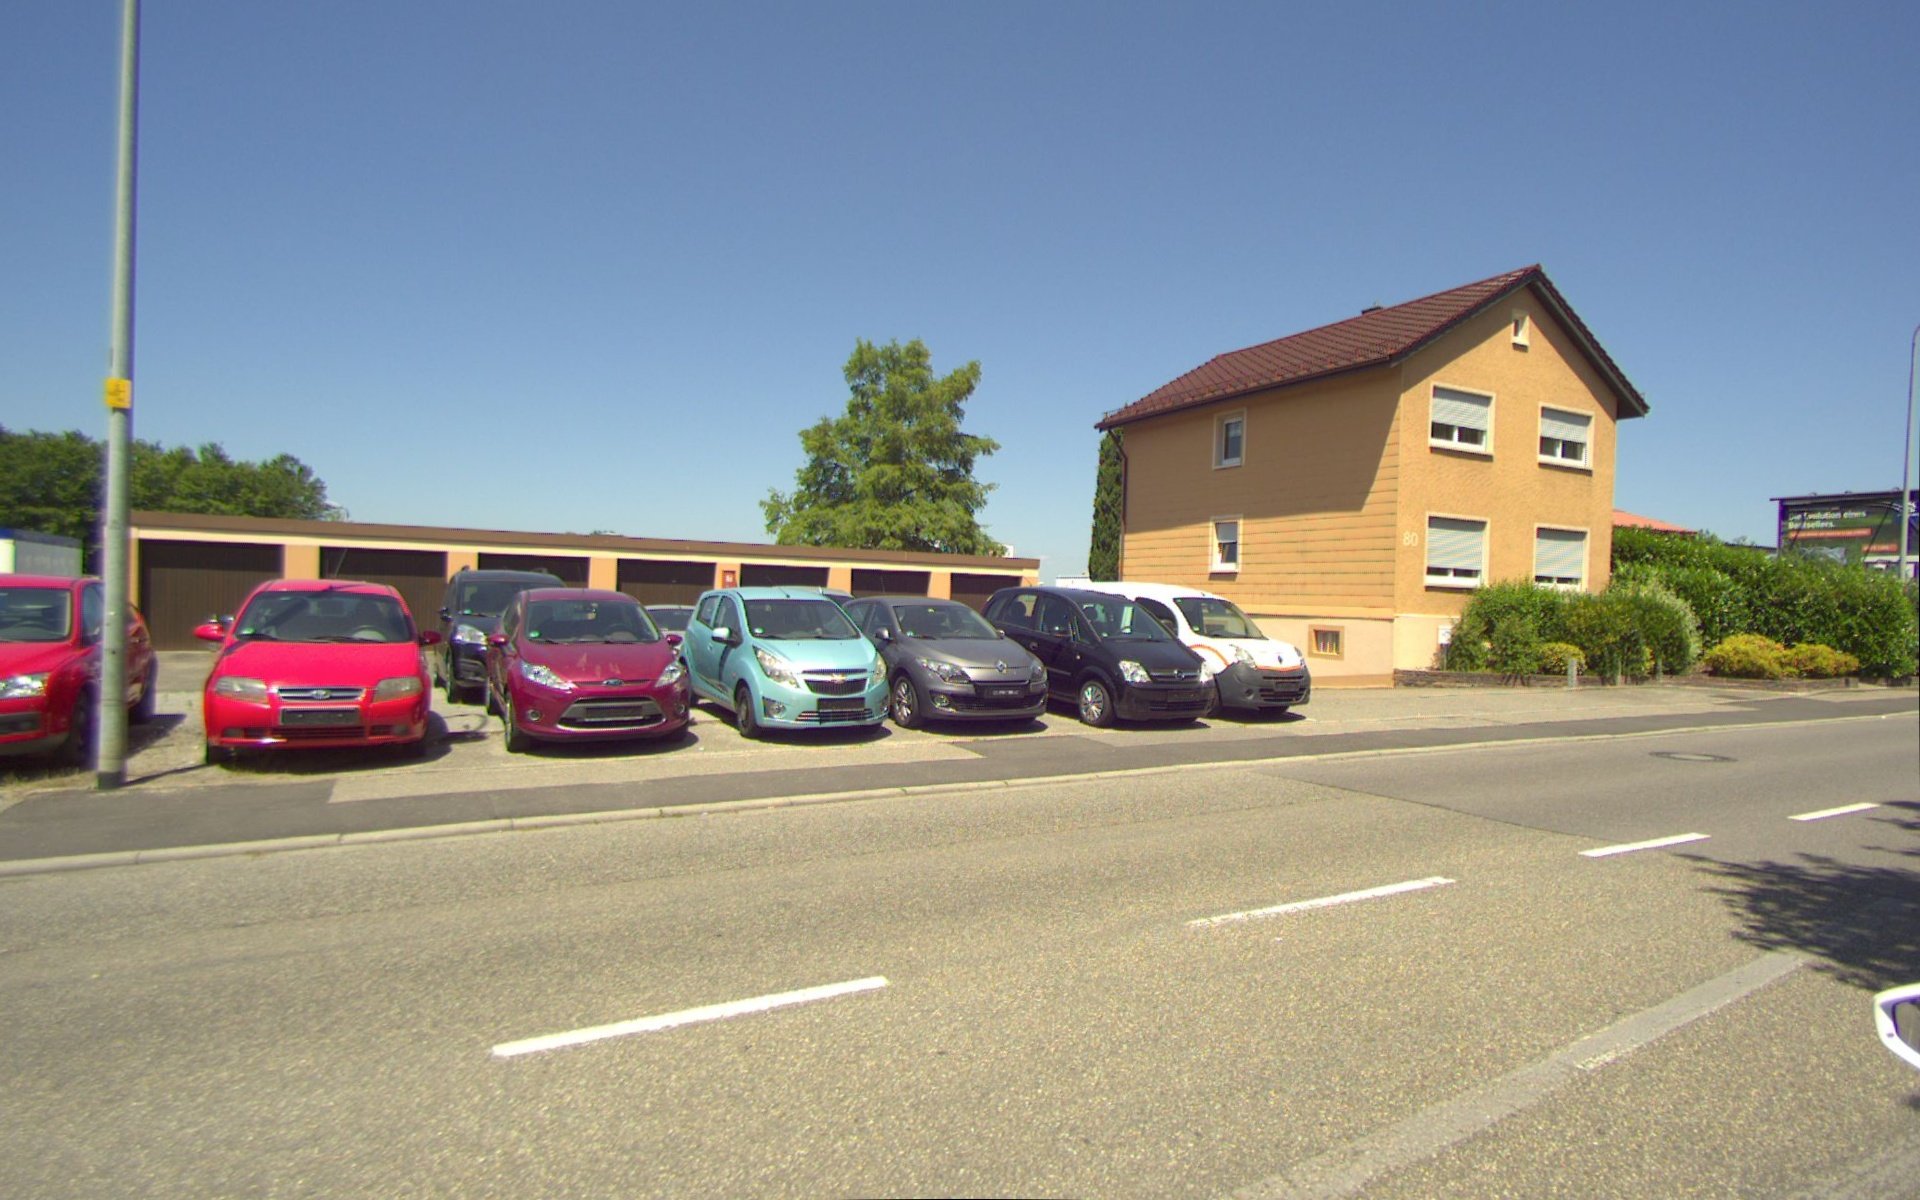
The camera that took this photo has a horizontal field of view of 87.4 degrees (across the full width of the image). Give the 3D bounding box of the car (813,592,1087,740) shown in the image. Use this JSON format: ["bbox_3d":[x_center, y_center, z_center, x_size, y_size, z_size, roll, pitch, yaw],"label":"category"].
[{"bbox_3d":[-0.271,0.725,12.845,1.901,1.552,3.644,2,0,-31],"label":"car"}]

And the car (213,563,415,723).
[{"bbox_3d":[-8.180,0.466,12.897,1.871,1.732,3.644,2,0,-31],"label":"car"}]

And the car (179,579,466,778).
[{"bbox_3d":[-5.910,0.586,9.515,1.871,1.477,3.644,2,0,-31],"label":"car"}]

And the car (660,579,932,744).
[{"bbox_3d":[-2.070,0.596,11.798,1.901,1.602,3.644,2,0,-31],"label":"car"}]

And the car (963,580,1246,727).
[{"bbox_3d":[1.816,0.616,13.635,1.901,1.694,3.644,2,0,-31],"label":"car"}]

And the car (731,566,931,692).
[{"bbox_3d":[-2.217,0.419,16.417,1.901,1.800,3.644,2,0,-31],"label":"car"}]

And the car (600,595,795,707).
[{"bbox_3d":[-4.099,0.695,15.288,1.901,1.421,3.644,2,0,-31],"label":"car"}]

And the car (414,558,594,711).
[{"bbox_3d":[-6.524,0.410,14.142,1.838,1.829,3.829,2,0,-31],"label":"car"}]

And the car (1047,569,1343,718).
[{"bbox_3d":[3.382,0.556,15.164,1.979,1.923,4.069,2,0,-33],"label":"car"}]

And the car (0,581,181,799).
[{"bbox_3d":[-8.105,0.593,8.458,1.805,1.463,4.106,2,0,-29],"label":"car"}]

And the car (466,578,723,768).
[{"bbox_3d":[-4.011,0.622,10.639,1.861,1.626,3.644,2,0,-31],"label":"car"}]
